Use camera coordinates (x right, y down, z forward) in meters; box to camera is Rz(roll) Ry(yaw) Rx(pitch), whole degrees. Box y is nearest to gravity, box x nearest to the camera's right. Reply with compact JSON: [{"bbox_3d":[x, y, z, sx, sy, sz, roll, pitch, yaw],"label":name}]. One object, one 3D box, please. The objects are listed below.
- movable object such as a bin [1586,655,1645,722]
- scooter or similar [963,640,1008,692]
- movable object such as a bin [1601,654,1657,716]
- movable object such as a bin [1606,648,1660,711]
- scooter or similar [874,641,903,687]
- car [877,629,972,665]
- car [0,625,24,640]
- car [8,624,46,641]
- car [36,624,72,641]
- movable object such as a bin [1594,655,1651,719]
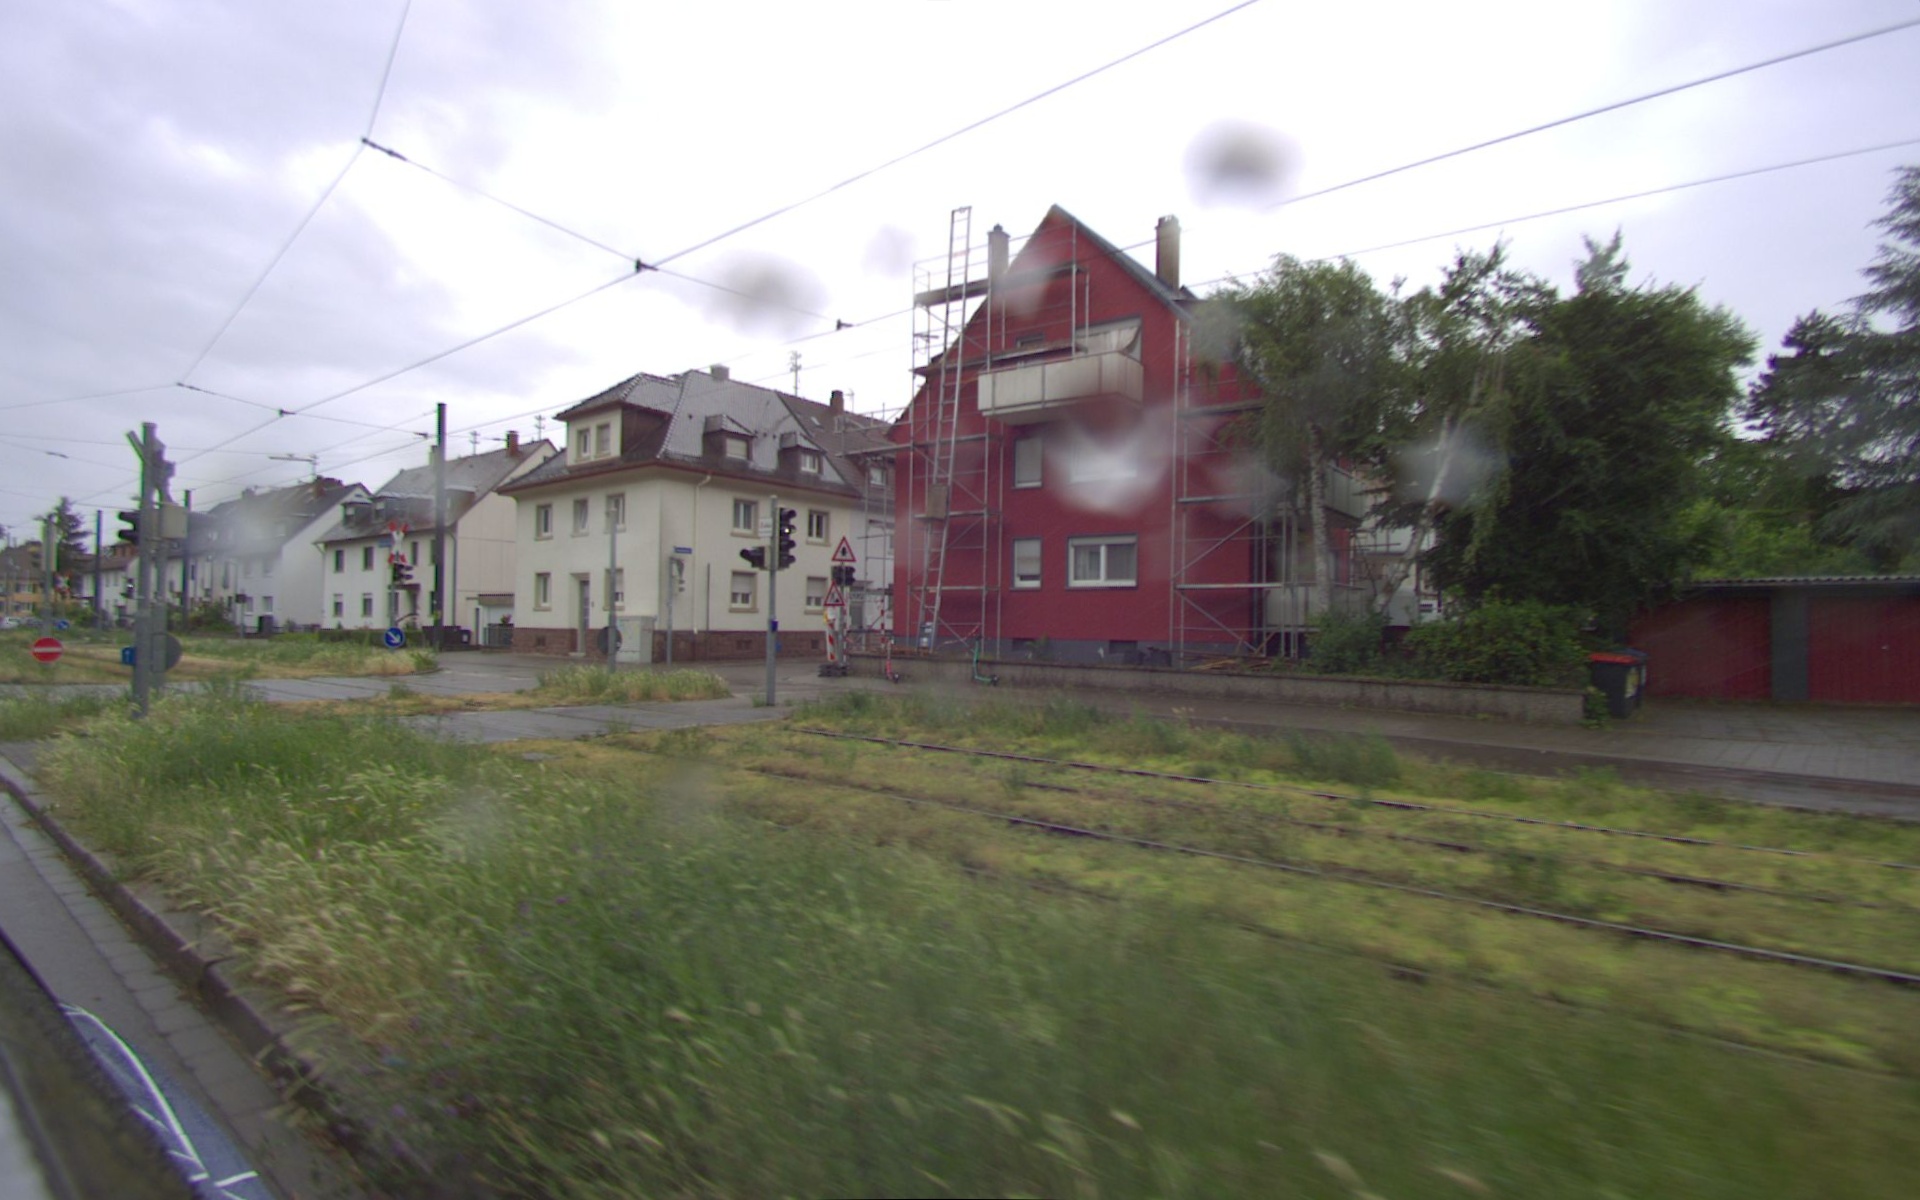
[{"bbox_3d":[11.344,1.515,17.507,0.757,1.099,0.637,-1,-3,42],"label":"movable object such as a bin"},{"bbox_3d":[0.603,1.556,24.130,0.388,1.189,1.286,2,-2,-33],"label":"scooter or similar"},{"bbox_3d":[12.187,1.532,18.446,0.758,1.090,0.554,-1,-3,43],"label":"movable object such as a bin"},{"bbox_3d":[12.602,1.480,18.958,0.758,1.147,0.554,-1,-3,43],"label":"movable object such as a bin"},{"bbox_3d":[-1.839,1.637,26.047,0.434,1.138,1.287,1,-2,-18],"label":"scooter or similar"},{"bbox_3d":[-1.438,1.937,42.556,1.838,1.412,4.314,-1,-2,34],"label":"car"},{"bbox_3d":[-96.485,3.254,102.640,3.995,1.451,1.694,-1,-4,39],"label":"car"},{"bbox_3d":[-87.975,3.032,95.403,4.751,1.543,1.868,-1,-4,39],"label":"car"},{"bbox_3d":[-78.265,2.820,87.412,3.934,1.437,1.755,-1,-4,40],"label":"car"},{"bbox_3d":[11.757,1.527,17.976,0.758,1.090,0.554,-1,-3,43],"label":"movable object such as a bin"}]
